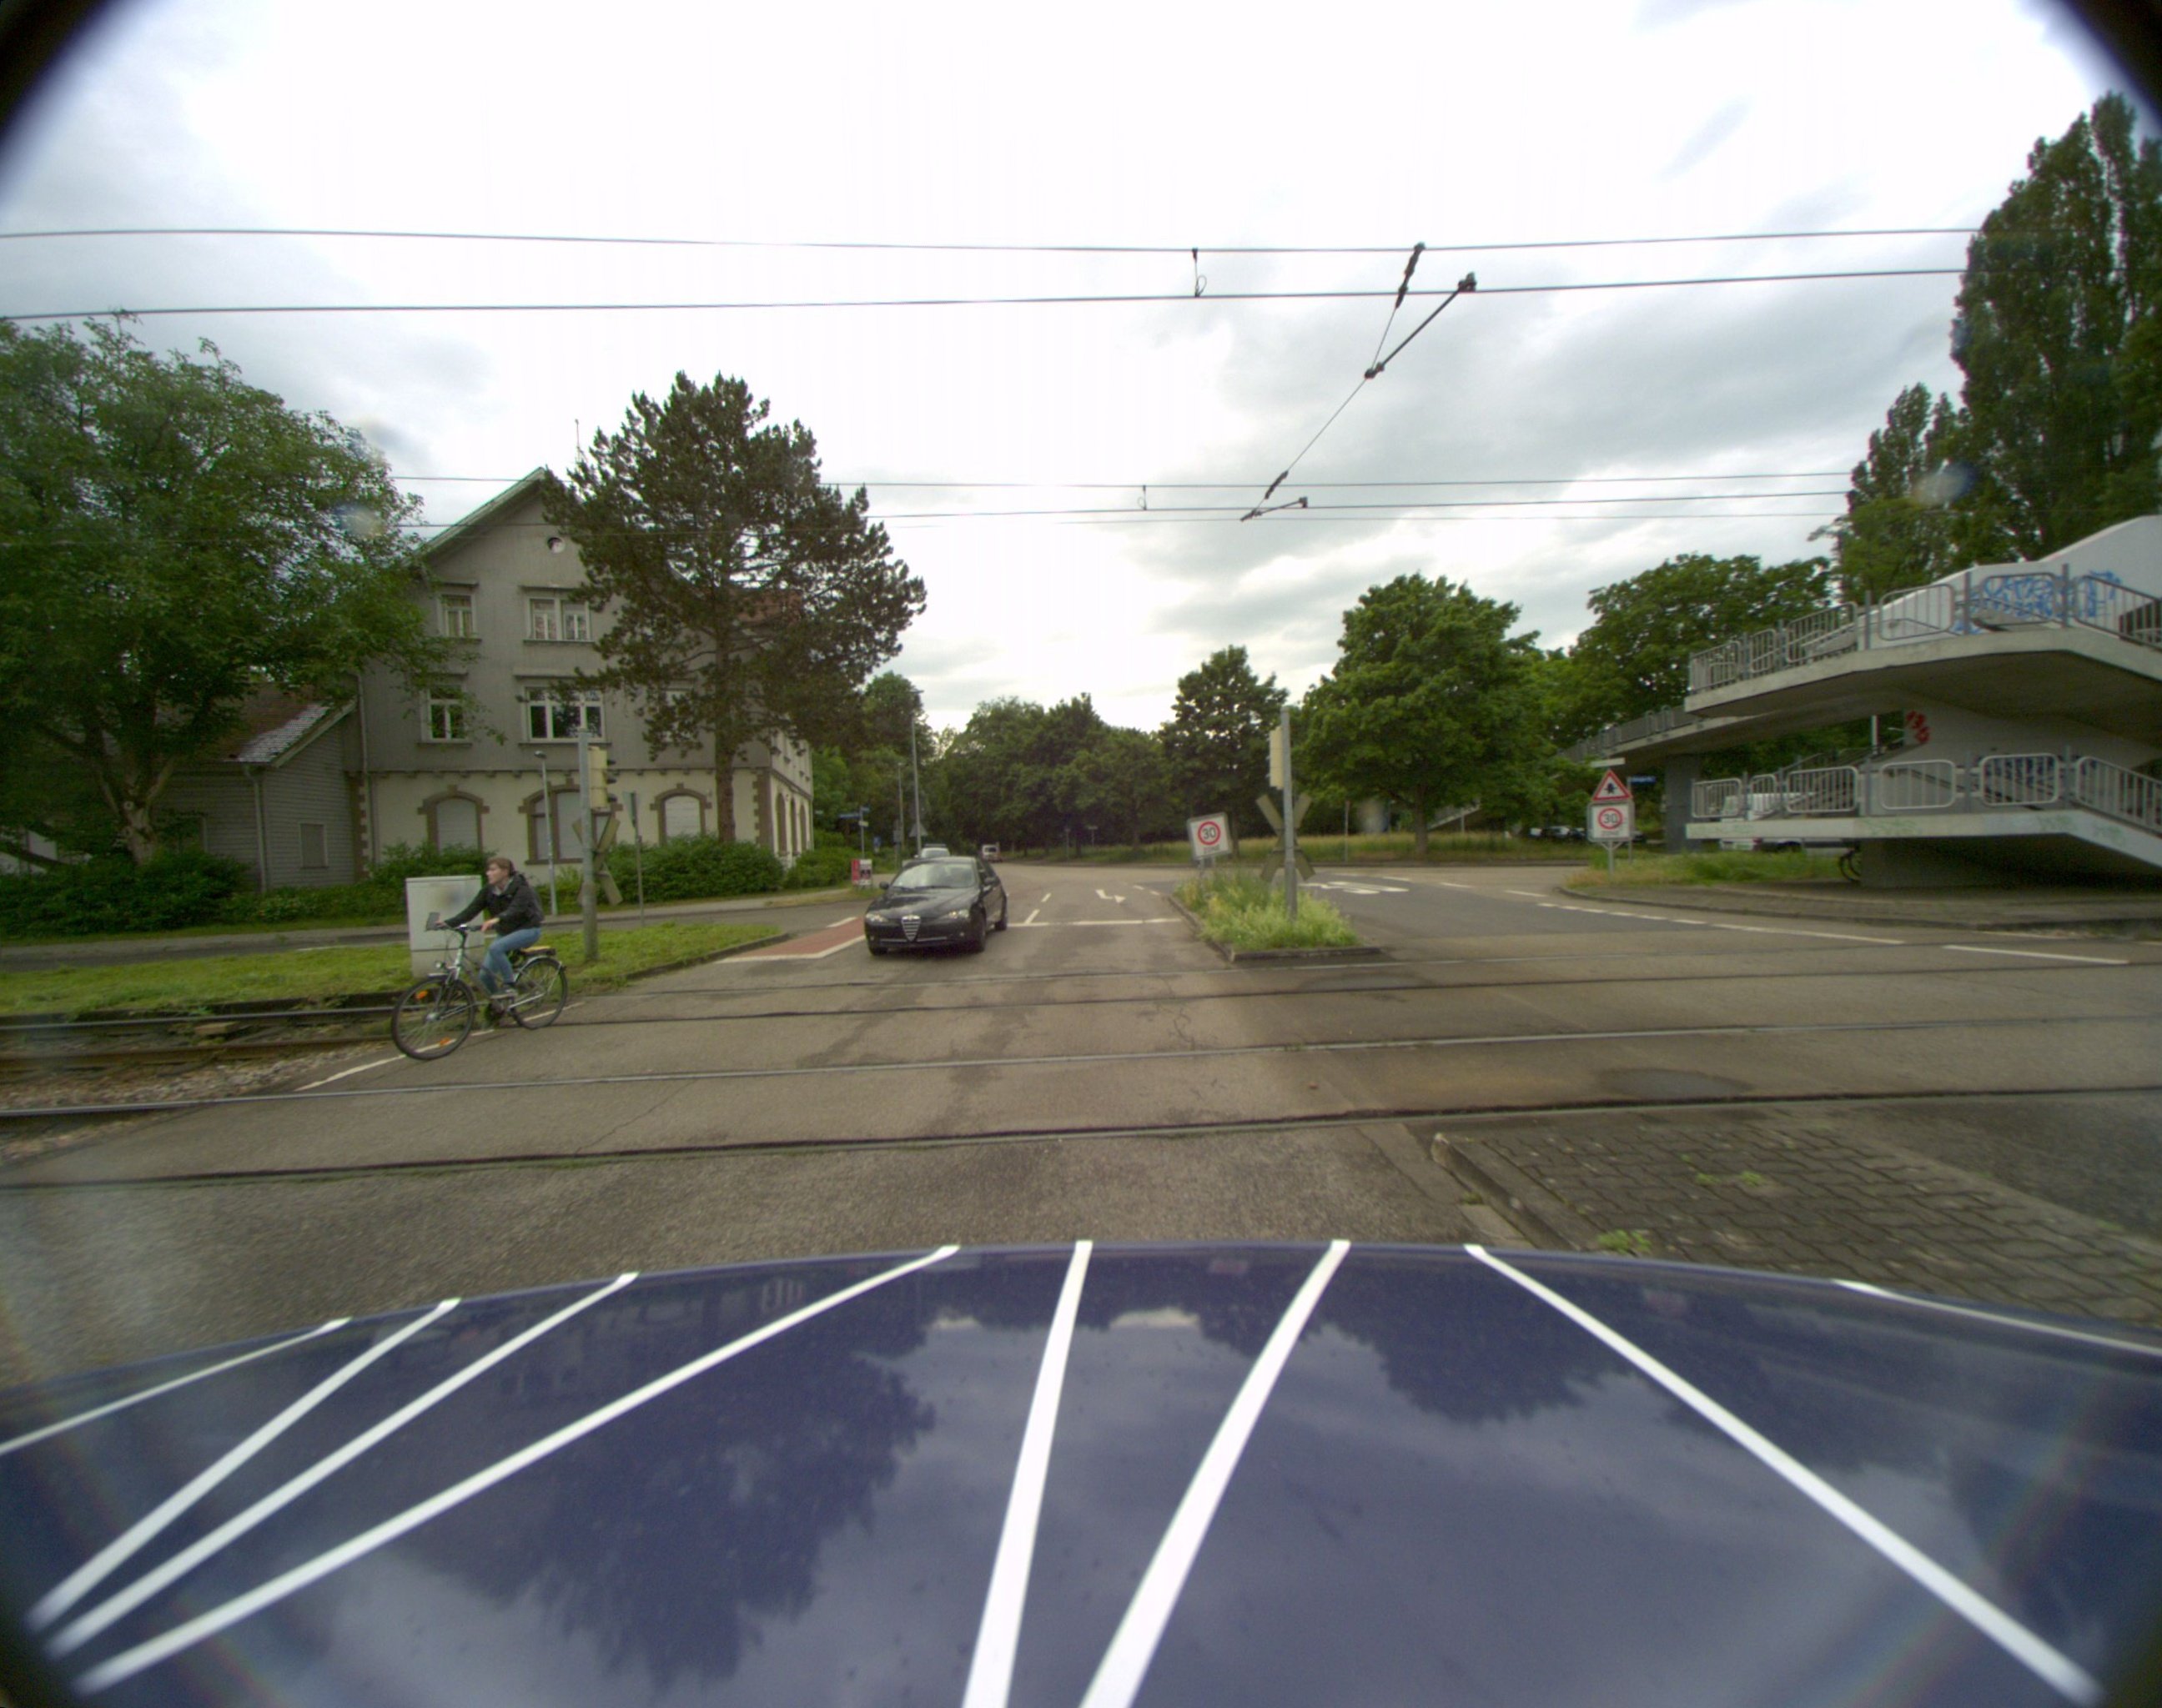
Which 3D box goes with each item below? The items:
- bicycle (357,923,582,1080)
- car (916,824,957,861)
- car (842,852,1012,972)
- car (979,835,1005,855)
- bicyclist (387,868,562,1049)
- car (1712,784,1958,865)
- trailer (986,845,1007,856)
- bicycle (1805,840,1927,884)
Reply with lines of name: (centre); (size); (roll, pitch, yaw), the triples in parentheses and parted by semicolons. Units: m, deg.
bicycle: (-5.497, 1.259, 7.020); (0.383, 0.975, 2.028); (-2, 2, 0)
car: (-7.488, -0.624, 39.157); (1.937, 1.840, 3.994); (0, 2, -12)
car: (-2.316, 0.791, 12.699); (1.802, 1.449, 4.539); (-2, 2, 1)
car: (-9.202, -0.966, 78.348); (2.096, 1.847, 4.215); (-4, 3, -14)
bicyclist: (-5.435, 0.893, 6.884); (0.623, 1.417, 0.961); (-6, 3, 0)
car: (23.677, -0.909, 24.122); (5.199, 2.280, 2.142); (-2, 2, 12)
trailer: (-8.336, -0.324, 74.730); (1.572, 0.980, 3.460); (-3, 2, -15)
bicycle: (16.309, 0.172, 15.828); (1.738, 0.880, 0.395); (-1, 3, 24)
